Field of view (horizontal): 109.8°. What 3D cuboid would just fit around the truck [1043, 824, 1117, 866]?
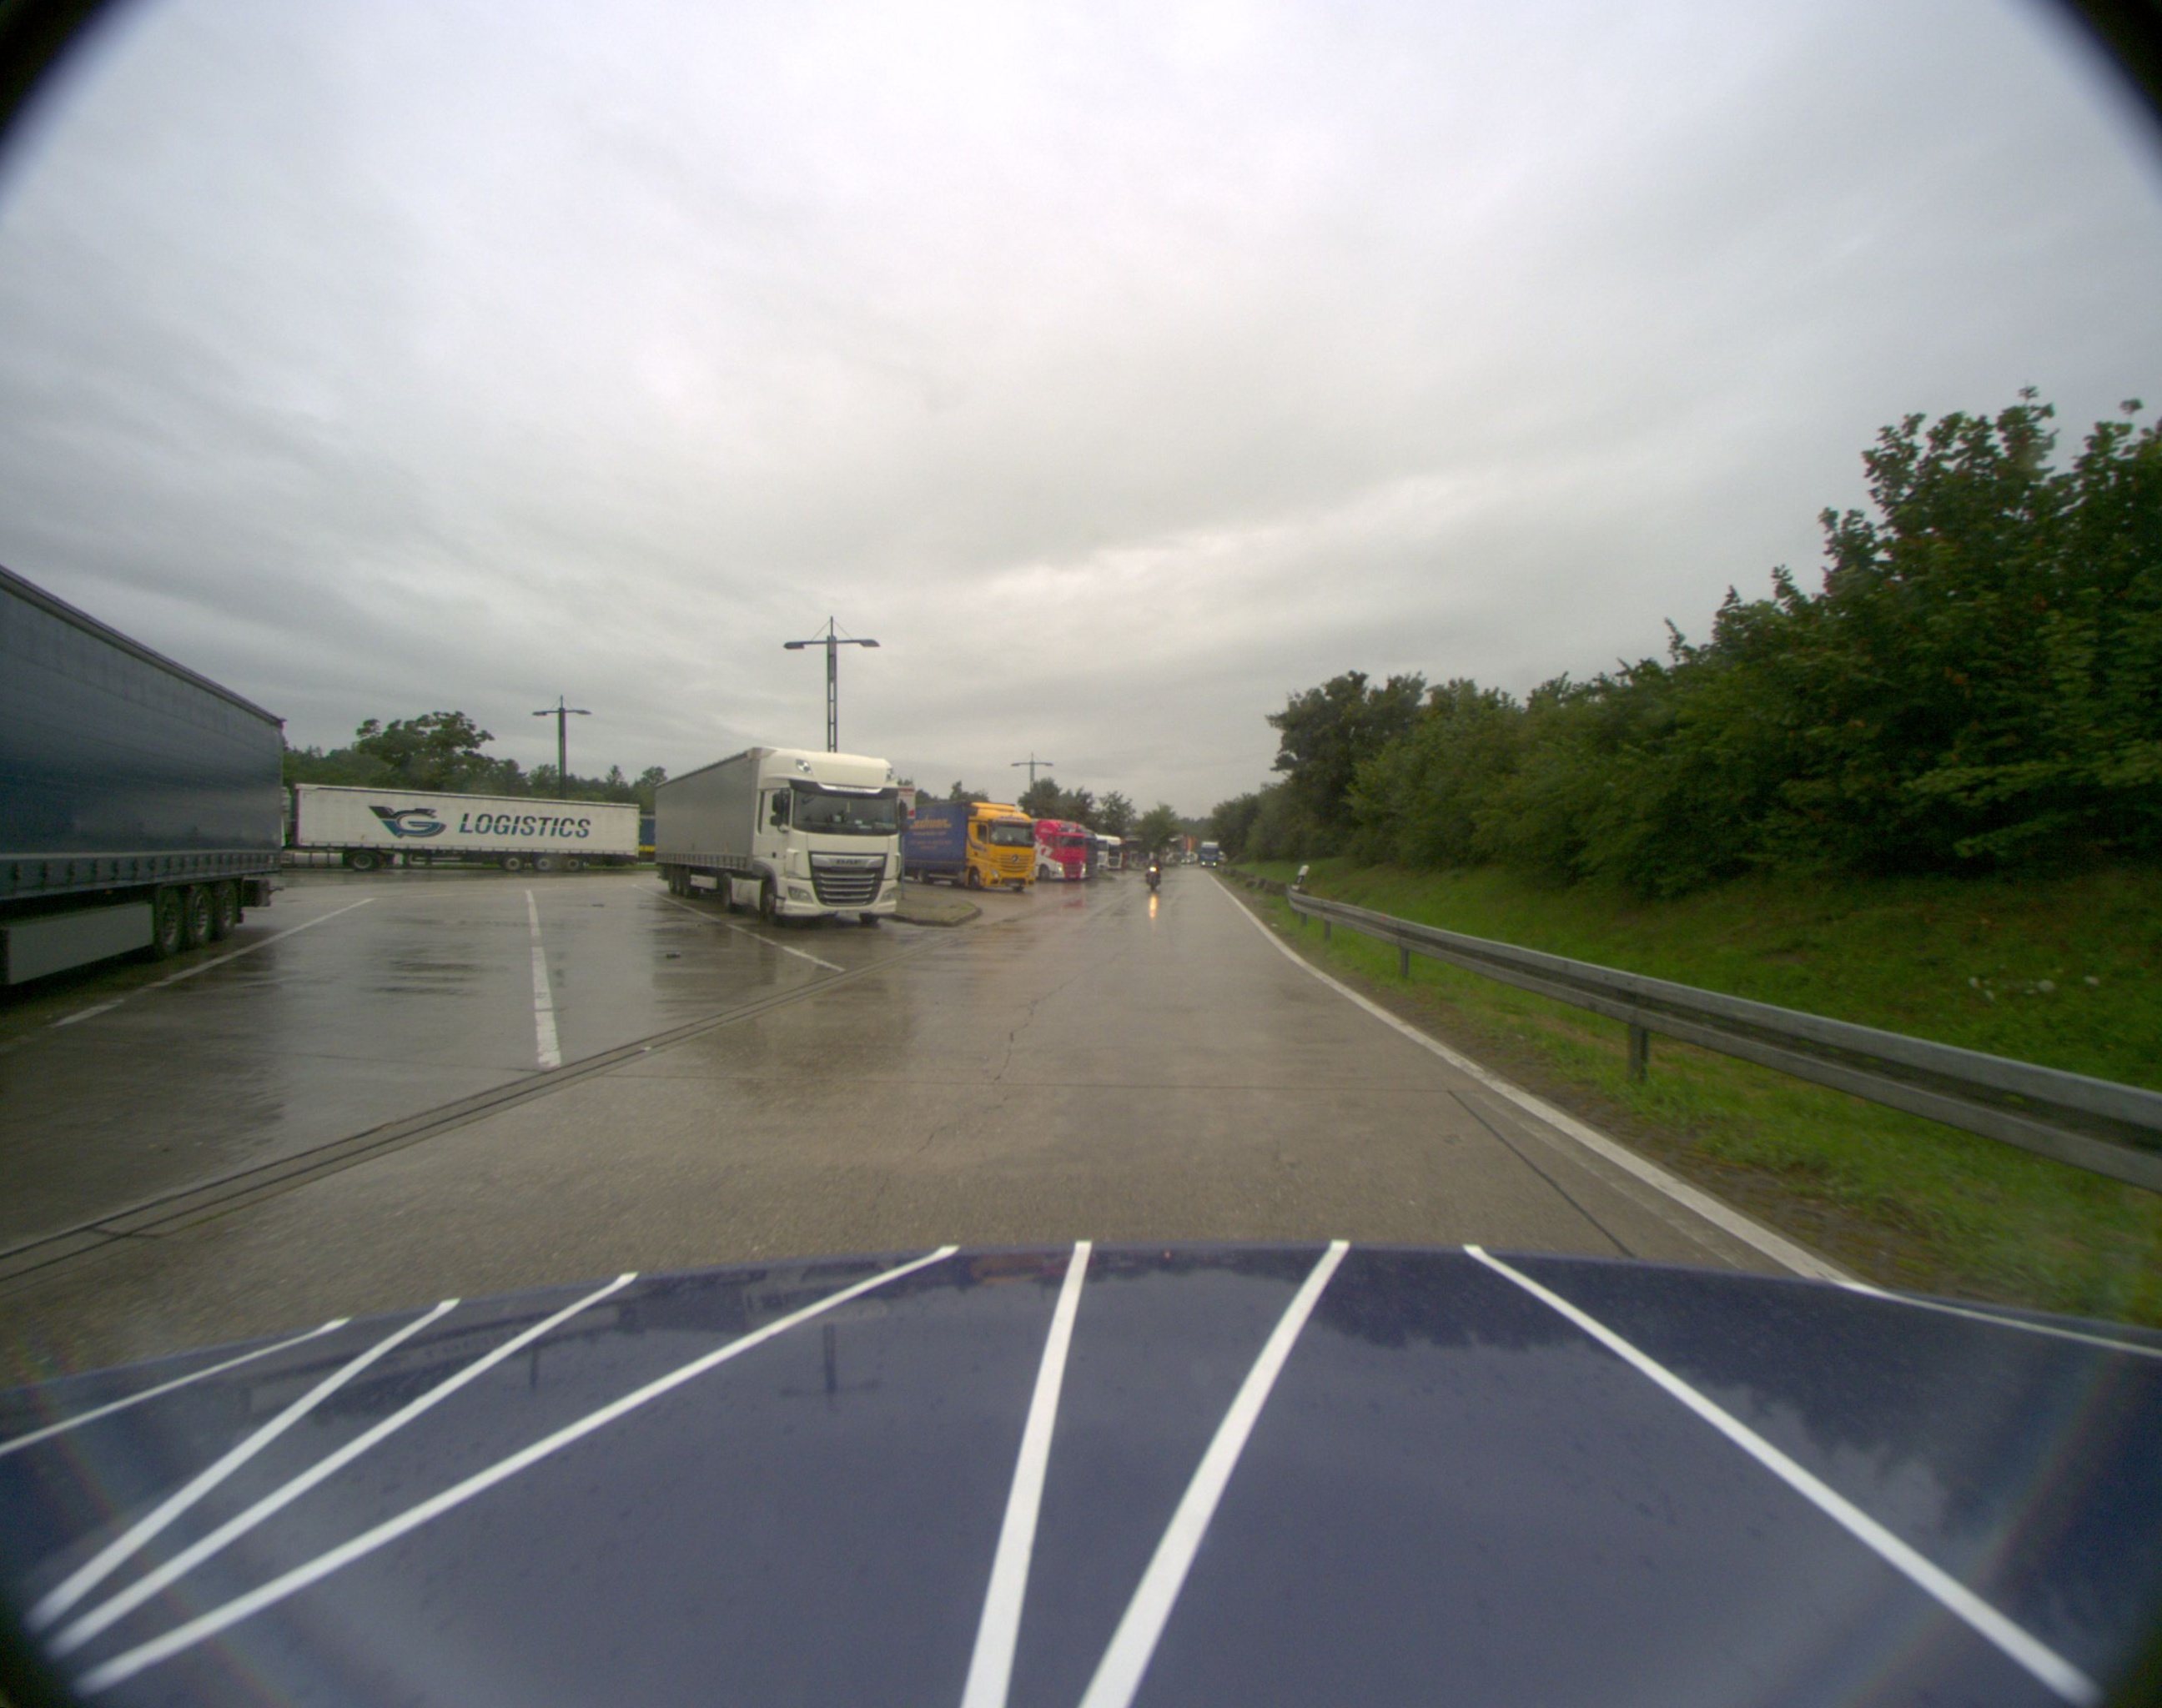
[{"bbox_3d":[-0.205,-0.939,79.147,3.253,4.067,7.915,1,1,-40],"label":"truck"}]

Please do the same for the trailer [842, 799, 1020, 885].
[{"bbox_3d":[-8.969,-0.662,41.973,2.875,3.896,16.587,1,1,-36],"label":"trailer"}]

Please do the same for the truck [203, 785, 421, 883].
[{"bbox_3d":[-36.143,-0.965,36.152,6.796,4.250,2.661,-3,1,-37],"label":"truck"}]

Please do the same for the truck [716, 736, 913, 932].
[{"bbox_3d":[-6.528,-0.410,18.132,2.837,3.890,5.396,0,1,-38],"label":"truck"}]

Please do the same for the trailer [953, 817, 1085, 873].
[{"bbox_3d":[-5.259,-0.748,59.910,2.882,3.896,13.895,1,1,-40],"label":"trailer"}]

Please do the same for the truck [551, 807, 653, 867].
[{"bbox_3d":[-31.524,-1.153,50.070,5.349,3.733,2.064,-3,1,-39],"label":"truck"}]

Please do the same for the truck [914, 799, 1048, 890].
[{"bbox_3d":[-5.025,-0.442,36.599,2.846,3.896,8.108,1,1,-36],"label":"truck"}]

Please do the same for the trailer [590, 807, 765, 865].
[{"bbox_3d":[-27.877,-1.323,53.023,10.407,3.733,2.064,-3,1,-39],"label":"trailer"}]

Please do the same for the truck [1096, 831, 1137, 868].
[{"bbox_3d":[4.283,-0.552,93.058,2.612,4.361,4.615,-1,1,-40],"label":"truck"}]

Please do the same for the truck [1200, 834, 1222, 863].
[{"bbox_3d":[20.177,-0.885,117.869,3.241,4.361,6.318,0,1,9],"label":"truck"}]

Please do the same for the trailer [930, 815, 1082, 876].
[{"bbox_3d":[-5.934,-0.657,55.237,3.253,3.896,14.788,1,1,-40],"label":"trailer"}]

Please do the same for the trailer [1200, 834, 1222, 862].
[{"bbox_3d":[21.194,-0.992,124.348,3.241,4.361,13.774,0,0,9],"label":"trailer"}]

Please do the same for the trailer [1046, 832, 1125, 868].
[{"bbox_3d":[0.409,-0.538,97.729,2.548,4.361,12.797,-1,1,-40],"label":"trailer"}]

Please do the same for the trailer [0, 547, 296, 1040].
[{"bbox_3d":[-12.461,-0.588,8.541,2.832,4.147,13.955,0,1,-37],"label":"trailer"}]

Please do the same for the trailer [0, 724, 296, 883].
[{"bbox_3d":[-31.802,-1.427,22.153,12.057,4.448,3.250,1,0,-38],"label":"trailer"}]

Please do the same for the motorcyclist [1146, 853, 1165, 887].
[{"bbox_3d":[3.586,0.767,36.562,0.877,1.558,1.374,1,0,6],"label":"motorcyclist"}]

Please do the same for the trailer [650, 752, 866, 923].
[{"bbox_3d":[-10.760,-0.469,23.718,2.850,3.896,13.915,1,1,-37],"label":"trailer"}]

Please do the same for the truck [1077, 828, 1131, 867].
[{"bbox_3d":[2.643,-0.766,87.734,3.252,4.361,5.797,0,1,-40],"label":"truck"}]

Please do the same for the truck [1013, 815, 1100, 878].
[{"bbox_3d":[-1.648,-0.502,50.047,3.253,3.896,5.007,1,1,-40],"label":"truck"}]

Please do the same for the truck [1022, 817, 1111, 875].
[{"bbox_3d":[-1.167,-0.579,54.973,2.905,3.896,6.537,1,1,-40],"label":"truck"}]

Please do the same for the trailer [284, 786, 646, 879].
[{"bbox_3d":[-31.217,-1.205,39.861,14.191,4.233,2.661,-3,1,-37],"label":"trailer"}]

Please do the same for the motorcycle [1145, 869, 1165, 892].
[{"bbox_3d":[3.578,1.250,36.611,0.877,1.016,2.354,1,0,6],"label":"motorcycle"}]
